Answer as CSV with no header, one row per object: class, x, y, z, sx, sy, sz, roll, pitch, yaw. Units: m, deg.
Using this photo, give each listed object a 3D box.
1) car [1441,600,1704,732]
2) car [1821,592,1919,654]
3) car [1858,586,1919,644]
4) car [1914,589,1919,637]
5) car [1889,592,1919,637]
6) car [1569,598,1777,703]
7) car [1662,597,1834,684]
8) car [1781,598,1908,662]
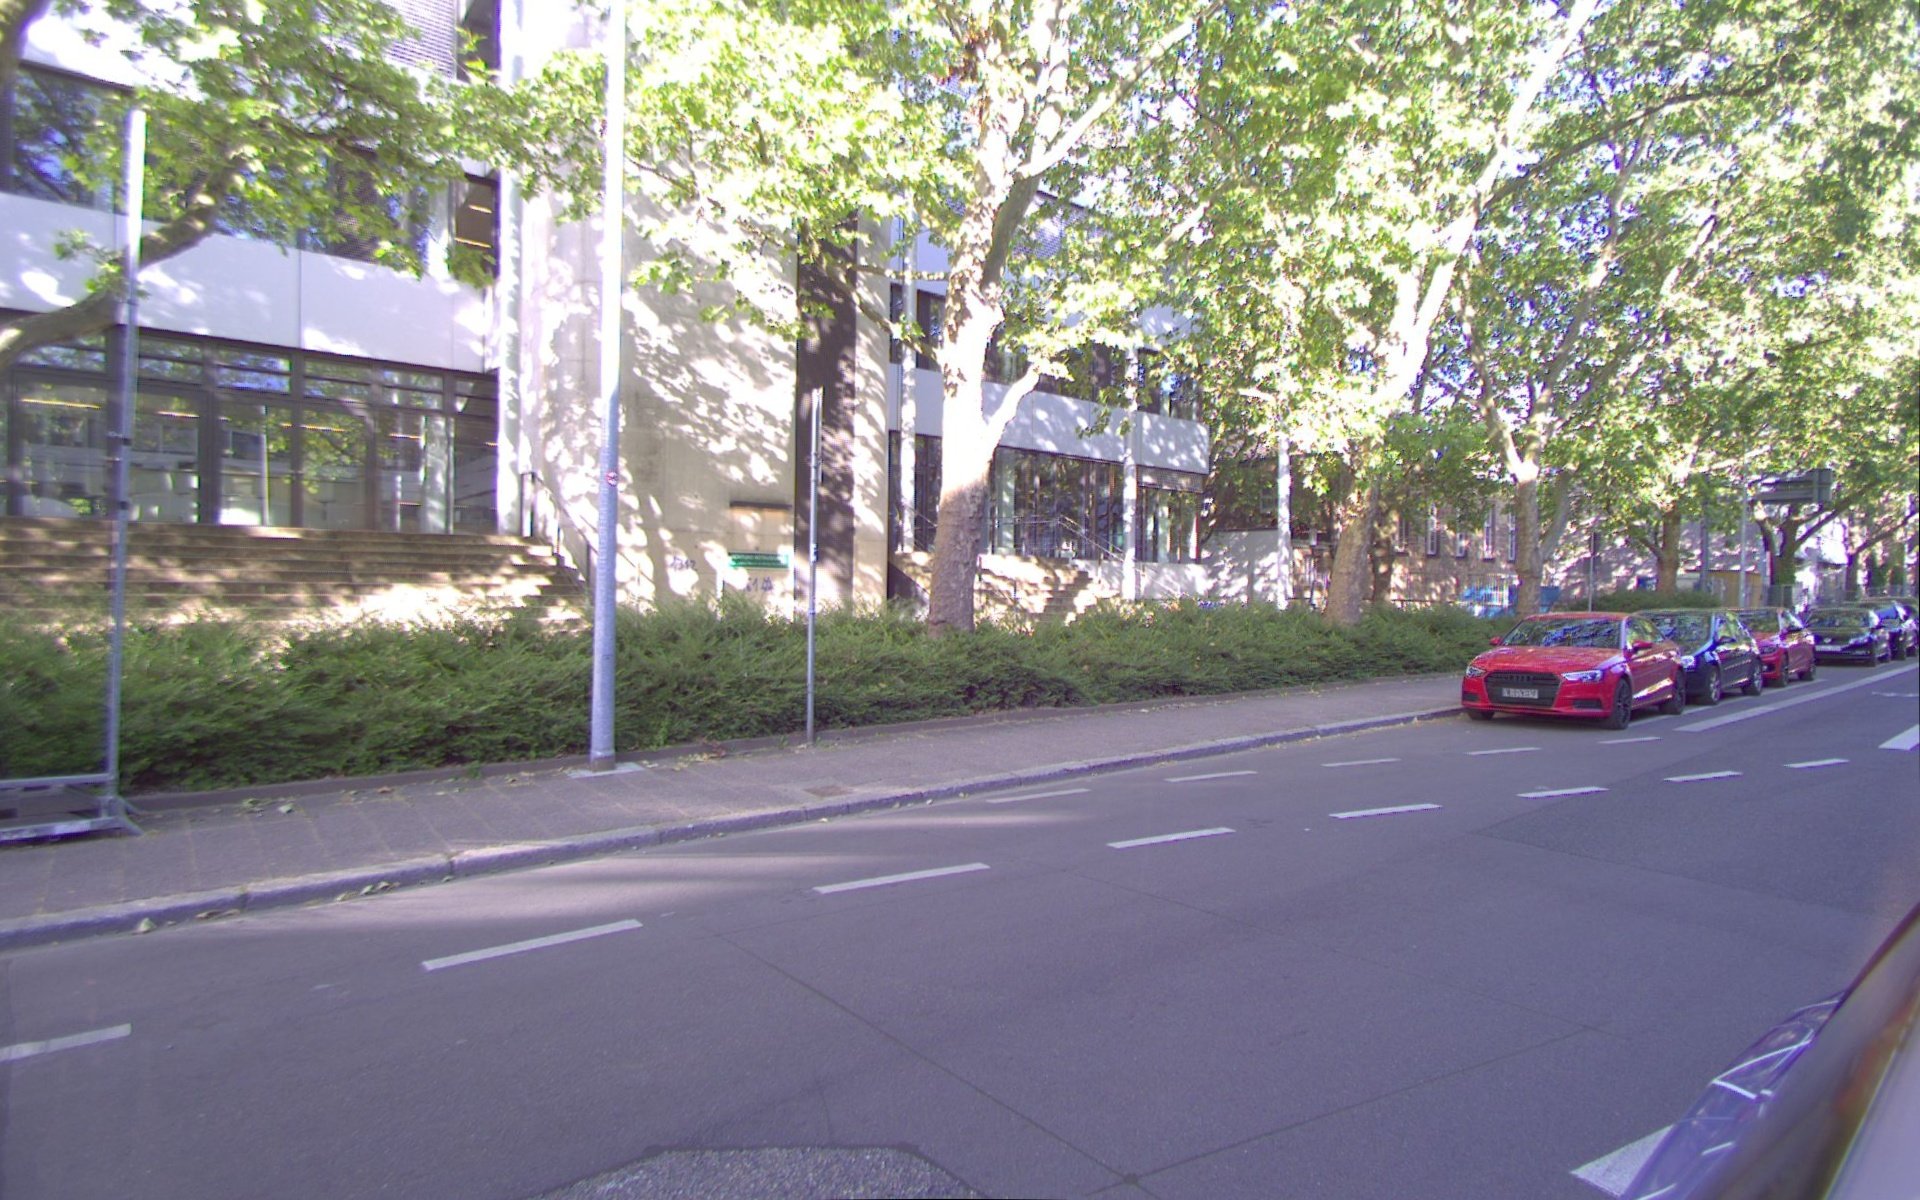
car,8.257,0.750,13.521,3.930,1.443,1.906,-1,1,-41
car,26.528,0.605,29.184,4.070,1.621,1.997,-1,0,-41
car,31.263,0.446,33.309,4.493,1.809,1.997,-1,0,-41
car,39.593,0.481,40.256,3.930,1.872,1.997,-1,0,-41
car,36.041,0.517,37.458,4.070,1.585,1.997,-1,1,-41
car,11.753,0.726,16.626,3.581,1.478,1.997,-1,1,-41
car,15.650,0.715,20.054,3.762,1.517,1.997,-1,1,-41
car,22.799,0.717,26.059,3.527,1.474,1.997,-1,1,-41
